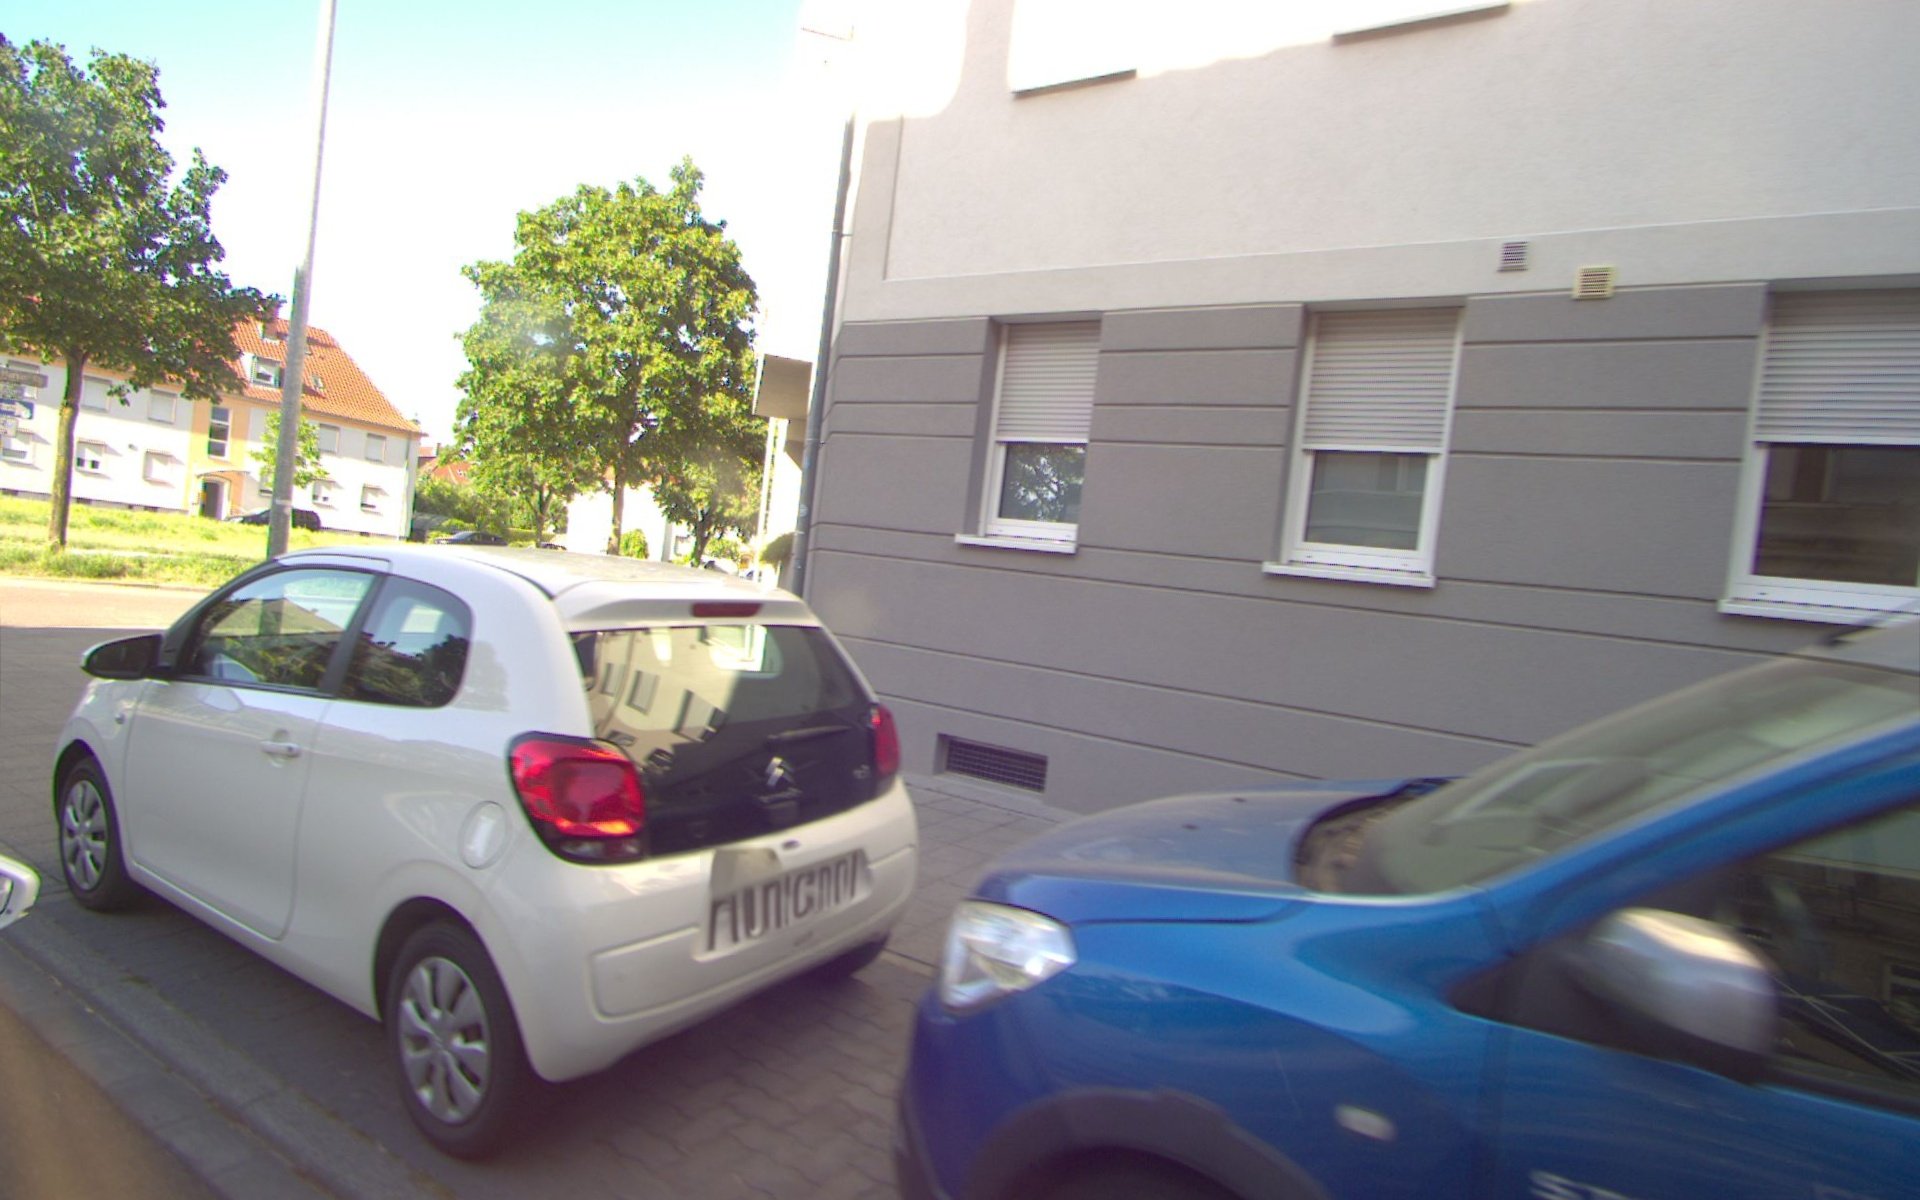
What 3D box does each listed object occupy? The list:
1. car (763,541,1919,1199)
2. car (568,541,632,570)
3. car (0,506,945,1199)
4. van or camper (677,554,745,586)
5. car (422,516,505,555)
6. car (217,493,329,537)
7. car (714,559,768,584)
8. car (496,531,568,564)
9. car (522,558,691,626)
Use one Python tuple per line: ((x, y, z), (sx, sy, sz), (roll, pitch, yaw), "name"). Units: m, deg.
((1.864, 0.785, 1.549), (4.195, 1.455, 1.681), (6, 4, 31), "car")
((-24.955, -3.072, 69.769), (1.618, 1.569, 3.880), (7, 1, 32), "car")
((-2.049, 0.478, 3.780), (3.669, 1.430, 1.563), (6, 4, 32), "car")
((-18.364, -2.188, 74.403), (1.967, 1.807, 4.666), (7, 1, 32), "van or camper")
((-30.079, -3.878, 61.030), (1.838, 1.807, 4.077), (7, 1, 32), "car")
((-35.227, -4.332, 51.706), (1.868, 1.620, 4.290), (7, 1, 32), "car")
((-17.688, -2.318, 81.462), (1.838, 1.562, 4.077), (7, 1, 32), "car")
((-27.572, -3.385, 64.864), (1.751, 1.608, 3.880), (7, 1, 32), "car")
((-8.759, -0.169, 25.226), (1.578, 1.407, 3.810), (3, -2, 32), "car")
